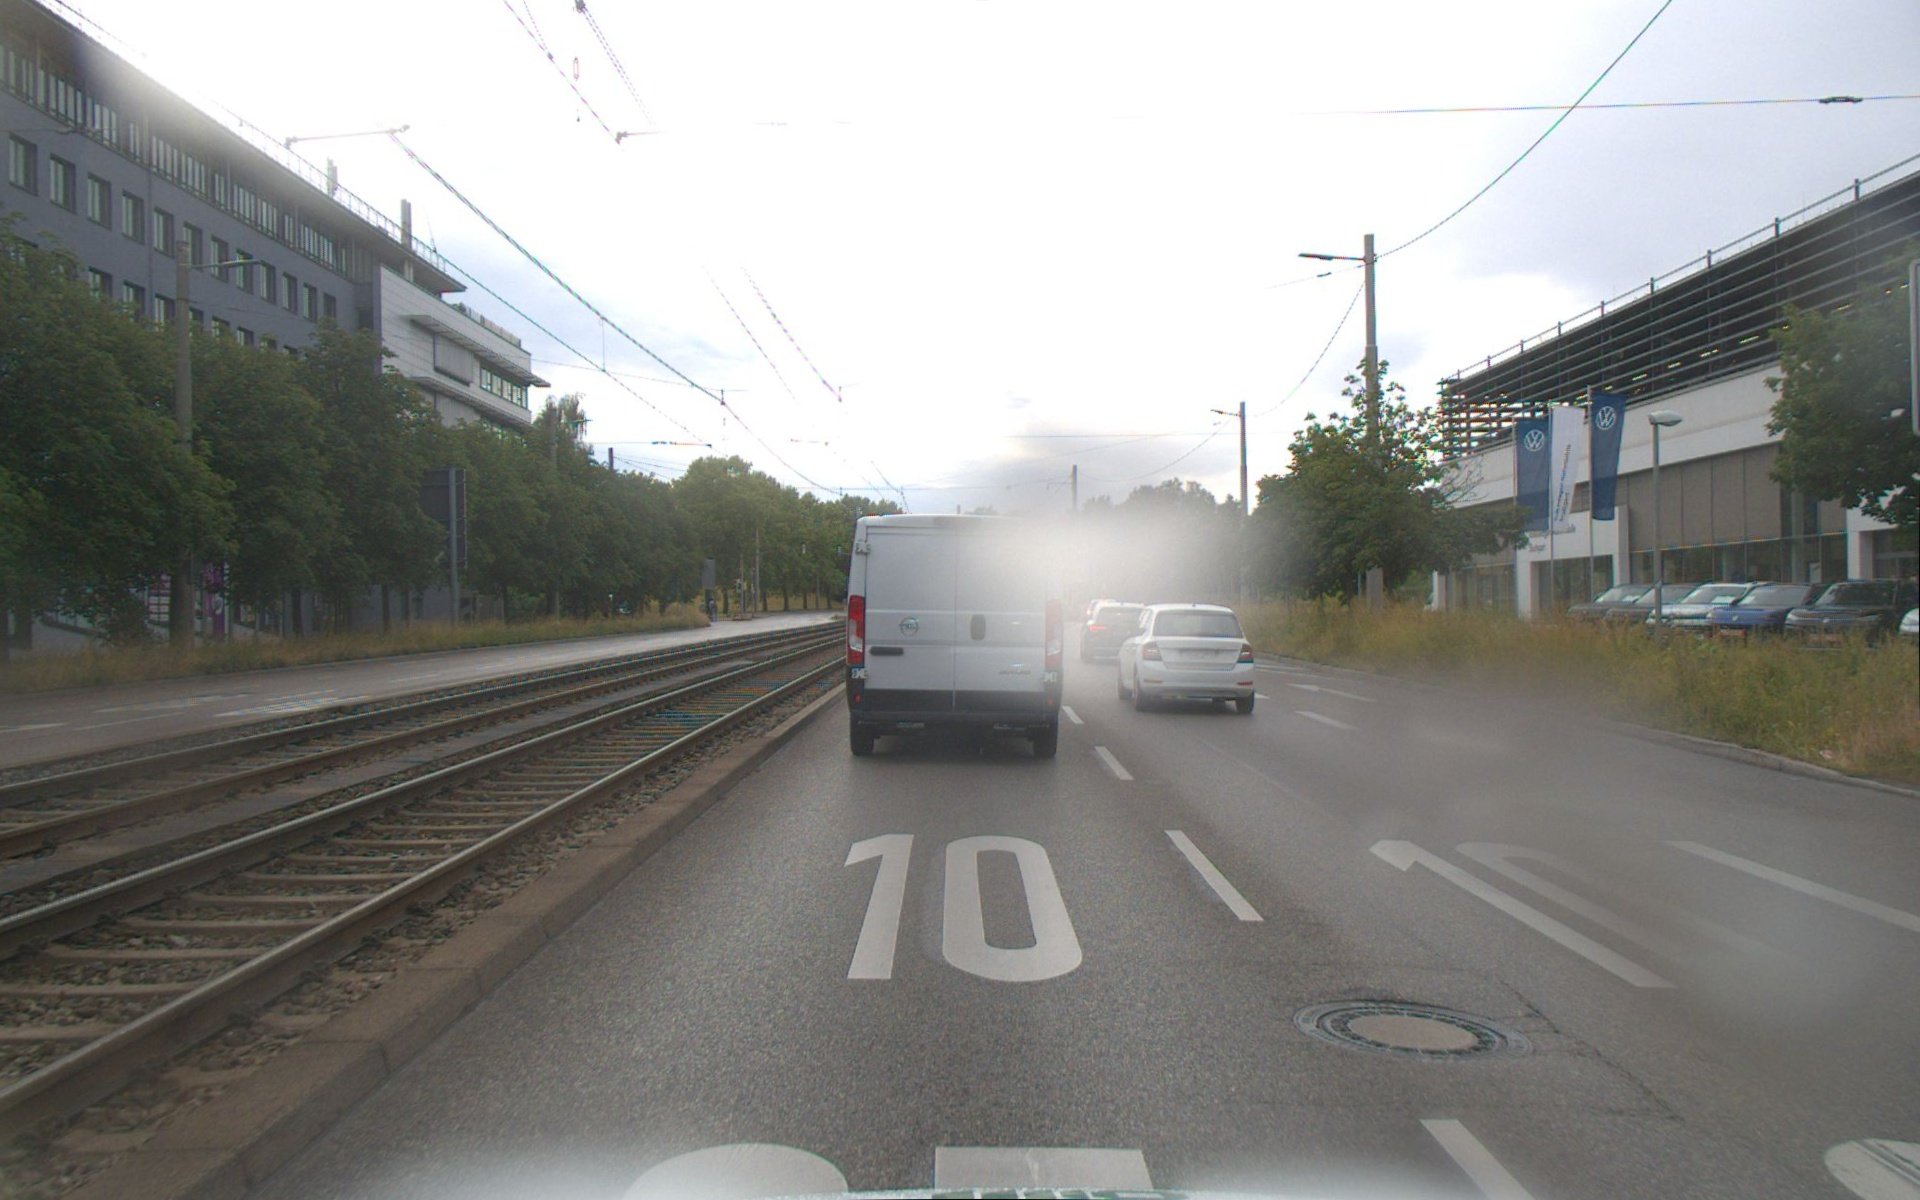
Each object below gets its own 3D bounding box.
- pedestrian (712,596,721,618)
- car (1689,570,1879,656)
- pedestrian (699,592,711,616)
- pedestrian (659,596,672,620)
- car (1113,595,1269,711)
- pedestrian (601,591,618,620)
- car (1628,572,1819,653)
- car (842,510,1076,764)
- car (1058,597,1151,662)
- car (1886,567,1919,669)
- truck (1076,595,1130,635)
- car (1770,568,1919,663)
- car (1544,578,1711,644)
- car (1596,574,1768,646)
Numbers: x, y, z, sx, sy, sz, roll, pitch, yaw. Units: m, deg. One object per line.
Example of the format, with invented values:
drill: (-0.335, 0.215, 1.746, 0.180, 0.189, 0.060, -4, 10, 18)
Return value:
pedestrian: (-20.441, 0.600, 138.797, 0.495, 1.818, 0.832, 1, 0, 6)
car: (17.224, 0.263, 34.518, 4.143, 1.596, 1.777, -2, -1, -36)
pedestrian: (-21.681, 0.331, 140.765, 0.869, 2.049, 0.865, -1, 0, -3)
pedestrian: (-22.608, 0.635, 126.999, 0.710, 1.786, 0.878, 1, 0, 3)
car: (3.233, 0.704, 23.786, 1.711, 1.483, 3.671, 2, 0, 0)
pedestrian: (-25.728, 0.403, 121.546, 0.868, 2.049, 0.946, -1, 0, 16)
car: (17.597, 0.281, 38.081, 4.296, 1.654, 1.837, -2, -1, -31)
car: (-0.038, 0.312, 17.317, 2.048, 2.235, 5.060, 1, 0, -1)
car: (3.427, 0.677, 39.893, 1.753, 1.474, 3.998, 1, 0, -2)
car: (16.882, 0.209, 26.814, 4.057, 1.596, 1.775, -2, -1, -37)
truck: (6.751, 0.678, 78.395, 1.954, 1.822, 4.412, -1, 0, -2)
car: (16.938, 0.257, 30.892, 4.153, 1.596, 1.772, -2, -1, -41)
car: (18.371, 0.285, 45.480, 4.564, 1.596, 1.833, -2, -1, -31)
car: (18.125, 0.234, 41.457, 4.319, 1.596, 1.780, -2, -1, -32)
